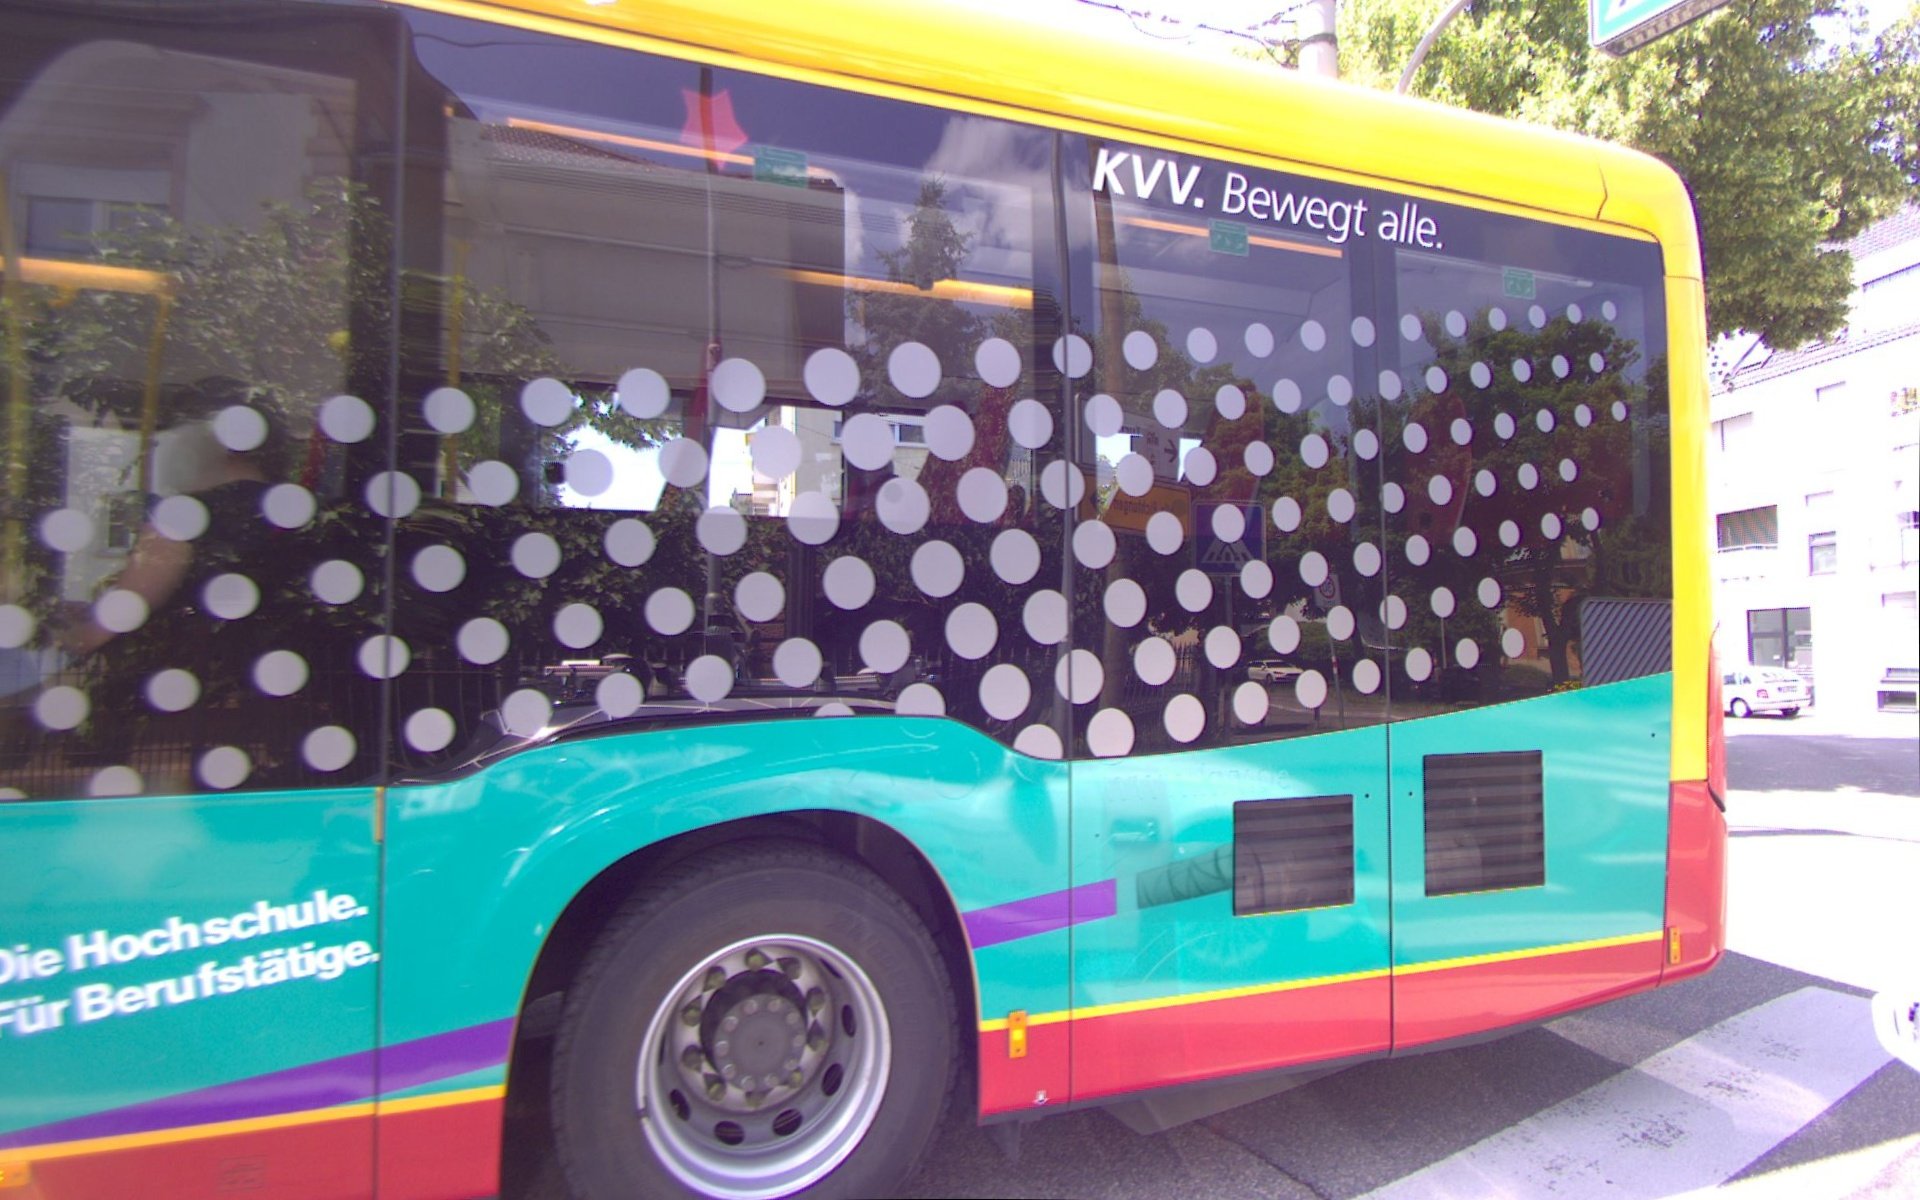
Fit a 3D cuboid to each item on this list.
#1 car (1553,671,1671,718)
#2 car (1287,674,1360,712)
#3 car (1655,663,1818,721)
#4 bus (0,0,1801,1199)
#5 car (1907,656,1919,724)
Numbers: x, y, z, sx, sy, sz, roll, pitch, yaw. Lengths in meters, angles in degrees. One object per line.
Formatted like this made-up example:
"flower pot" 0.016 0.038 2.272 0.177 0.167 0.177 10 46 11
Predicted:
"car" 22.457 3.221 34.729 1.396 1.375 3.500 -3 -3 -8
"car" 15.835 4.043 44.010 1.856 1.571 4.400 0 -5 4
"car" 23.007 2.686 29.961 1.629 1.485 3.909 -3 -3 -2
"bus" -3.461 -0.258 2.549 12.115 3.250 2.777 2 -2 -19
"car" 23.569 2.104 22.383 1.553 1.607 3.619 3 -3 1
